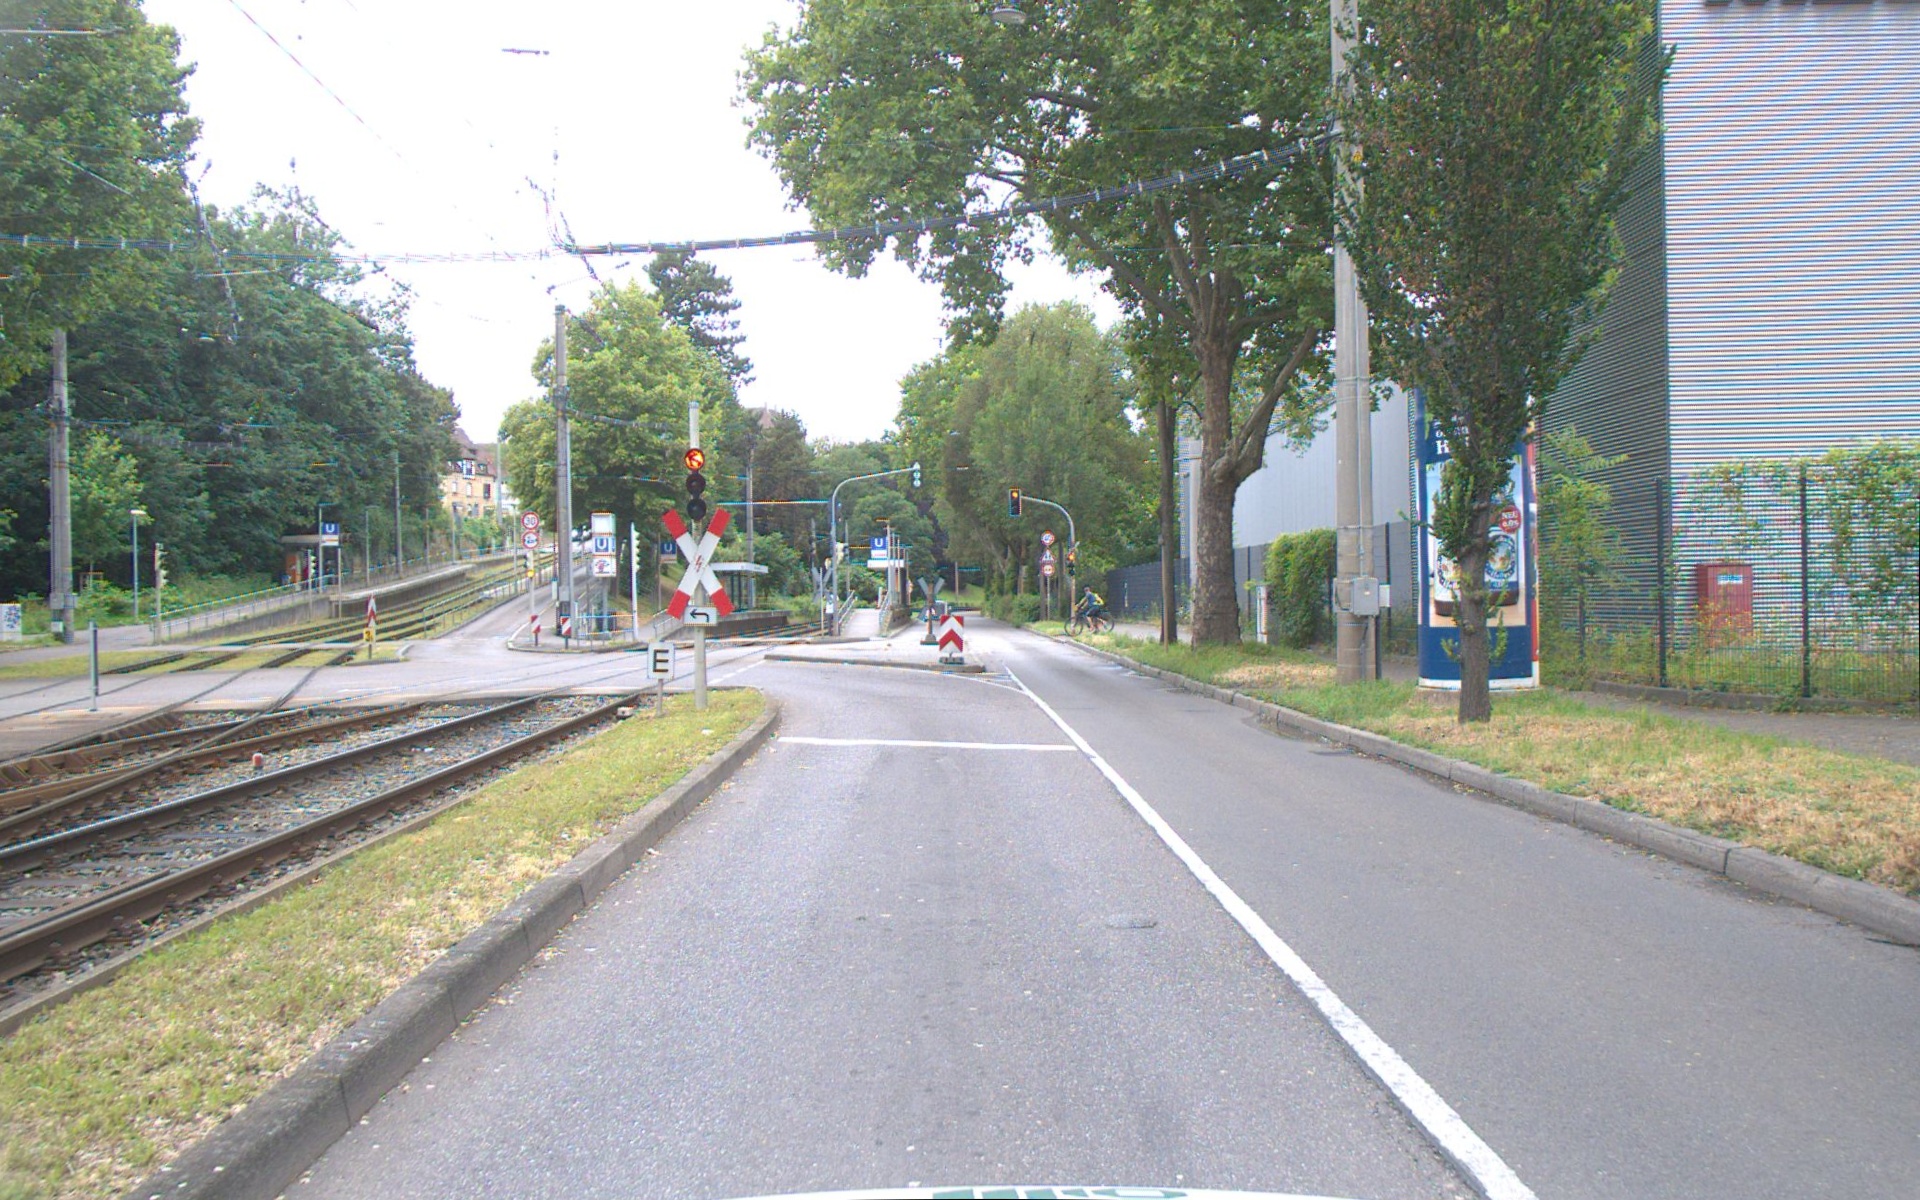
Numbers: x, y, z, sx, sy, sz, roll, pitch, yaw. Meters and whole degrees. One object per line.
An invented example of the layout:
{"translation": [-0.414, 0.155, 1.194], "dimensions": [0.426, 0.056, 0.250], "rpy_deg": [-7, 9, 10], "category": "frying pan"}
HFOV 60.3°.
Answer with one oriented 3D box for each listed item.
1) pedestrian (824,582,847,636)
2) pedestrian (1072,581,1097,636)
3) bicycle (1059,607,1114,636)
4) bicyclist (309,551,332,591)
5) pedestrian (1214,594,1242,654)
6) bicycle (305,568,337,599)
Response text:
{"translation": [-4.399, 0.325, 58.585], "dimensions": [0.753, 1.885, 0.909], "rpy_deg": [-1, 0, -4], "category": "pedestrian"}
{"translation": [4.700, 0.304, 62.490], "dimensions": [0.911, 2.049, 0.668], "rpy_deg": [-1, 0, 5], "category": "pedestrian"}
{"translation": [4.791, 0.806, 62.475], "dimensions": [2.030, 1.024, 0.668], "rpy_deg": [-1, 0, 5], "category": "bicycle"}
{"translation": [-31.306, -1.426, 80.943], "dimensions": [0.806, 1.881, 1.050], "rpy_deg": [-1, 2, -9], "category": "bicyclist"}
{"translation": [7.209, 0.642, 44.500], "dimensions": [0.652, 1.580, 0.935], "rpy_deg": [-1, 0, 5], "category": "pedestrian"}
{"translation": [-31.331, -0.834, 81.161], "dimensions": [0.809, 1.366, 2.991], "rpy_deg": [-2, 3, -9], "category": "bicycle"}
